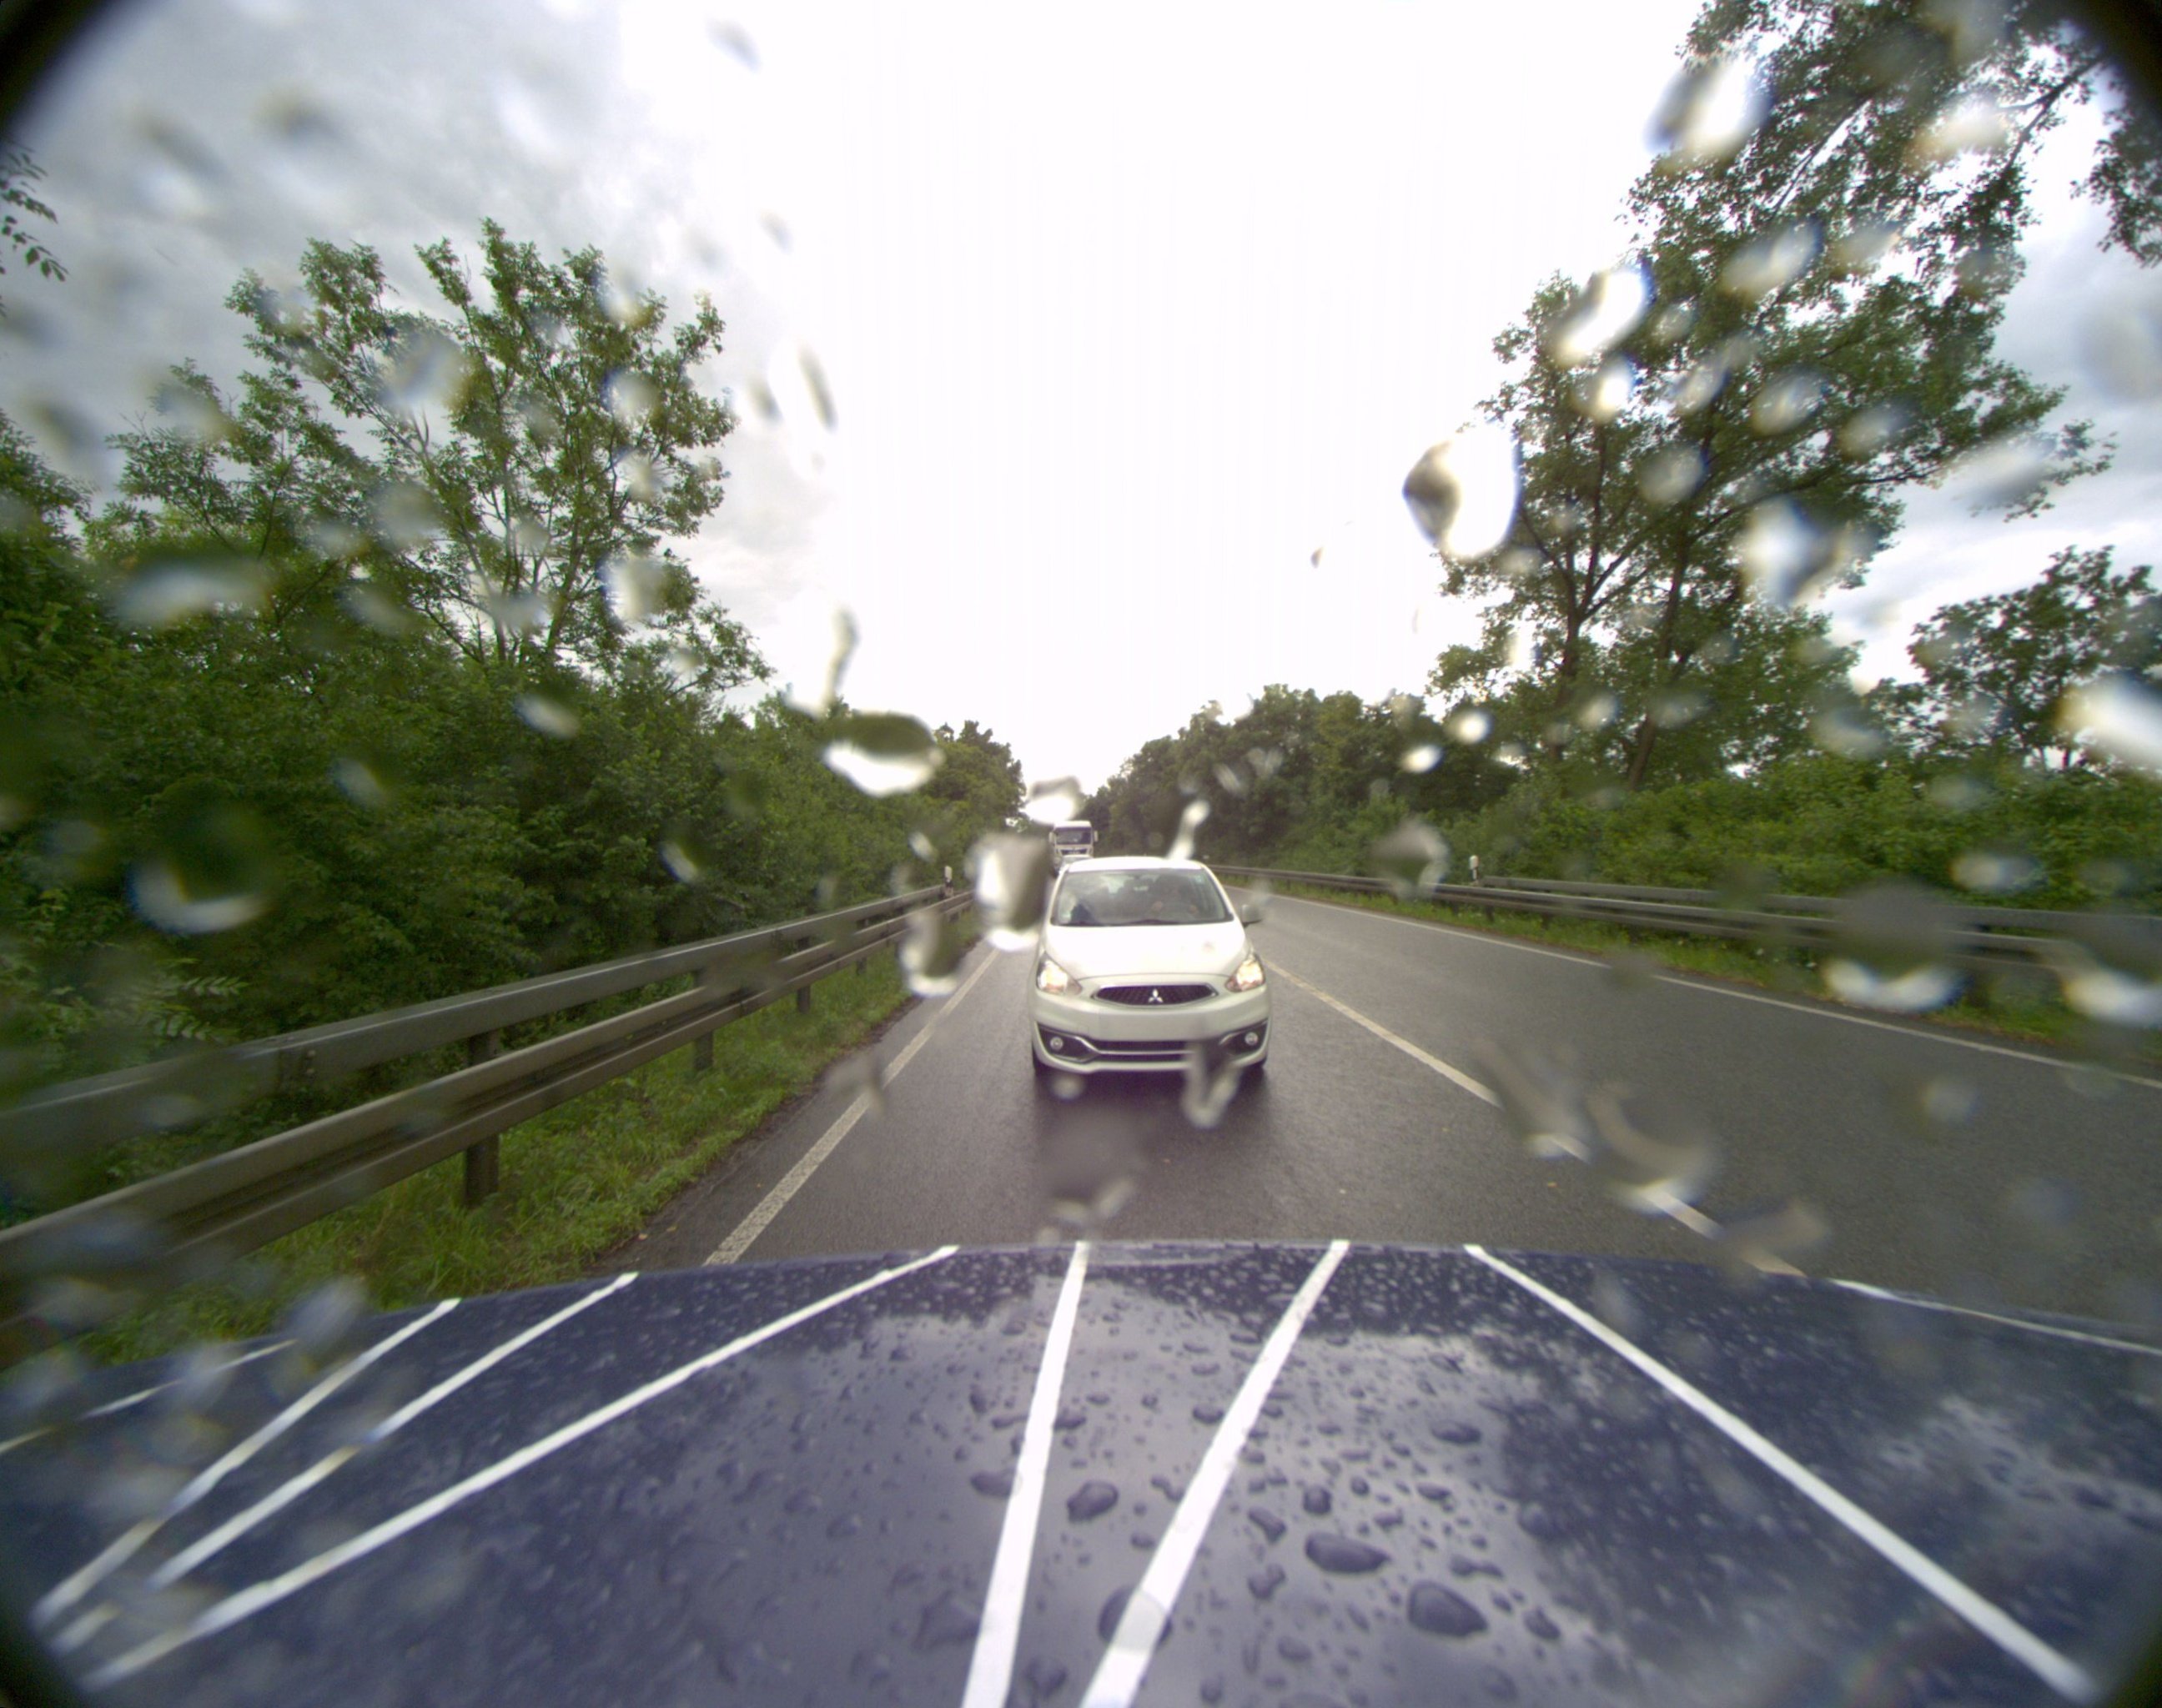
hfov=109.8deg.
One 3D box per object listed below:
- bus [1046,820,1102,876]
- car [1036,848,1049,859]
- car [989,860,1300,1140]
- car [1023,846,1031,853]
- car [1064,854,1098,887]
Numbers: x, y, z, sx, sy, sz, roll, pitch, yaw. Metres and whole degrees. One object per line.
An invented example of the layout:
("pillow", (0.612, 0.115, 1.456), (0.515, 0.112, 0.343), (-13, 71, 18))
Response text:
("bus", (-0.767, -0.404, 53.539), (3.064, 3.405, 13.634), (-2, 0, -4))
("car", (-7.456, -0.066, 146.267), (2.000, 1.936, 3.996), (-2, 0, -10))
("car", (0.400, 0.839, 6.283), (1.700, 1.471, 4.063), (-2, 0, 1))
("car", (-12.650, -1.100, 176.947), (1.421, 1.611, 3.476), (-2, 0, -10))
("car", (0.004, 0.740, 34.494), (1.475, 1.410, 3.428), (-1, 0, 0))
